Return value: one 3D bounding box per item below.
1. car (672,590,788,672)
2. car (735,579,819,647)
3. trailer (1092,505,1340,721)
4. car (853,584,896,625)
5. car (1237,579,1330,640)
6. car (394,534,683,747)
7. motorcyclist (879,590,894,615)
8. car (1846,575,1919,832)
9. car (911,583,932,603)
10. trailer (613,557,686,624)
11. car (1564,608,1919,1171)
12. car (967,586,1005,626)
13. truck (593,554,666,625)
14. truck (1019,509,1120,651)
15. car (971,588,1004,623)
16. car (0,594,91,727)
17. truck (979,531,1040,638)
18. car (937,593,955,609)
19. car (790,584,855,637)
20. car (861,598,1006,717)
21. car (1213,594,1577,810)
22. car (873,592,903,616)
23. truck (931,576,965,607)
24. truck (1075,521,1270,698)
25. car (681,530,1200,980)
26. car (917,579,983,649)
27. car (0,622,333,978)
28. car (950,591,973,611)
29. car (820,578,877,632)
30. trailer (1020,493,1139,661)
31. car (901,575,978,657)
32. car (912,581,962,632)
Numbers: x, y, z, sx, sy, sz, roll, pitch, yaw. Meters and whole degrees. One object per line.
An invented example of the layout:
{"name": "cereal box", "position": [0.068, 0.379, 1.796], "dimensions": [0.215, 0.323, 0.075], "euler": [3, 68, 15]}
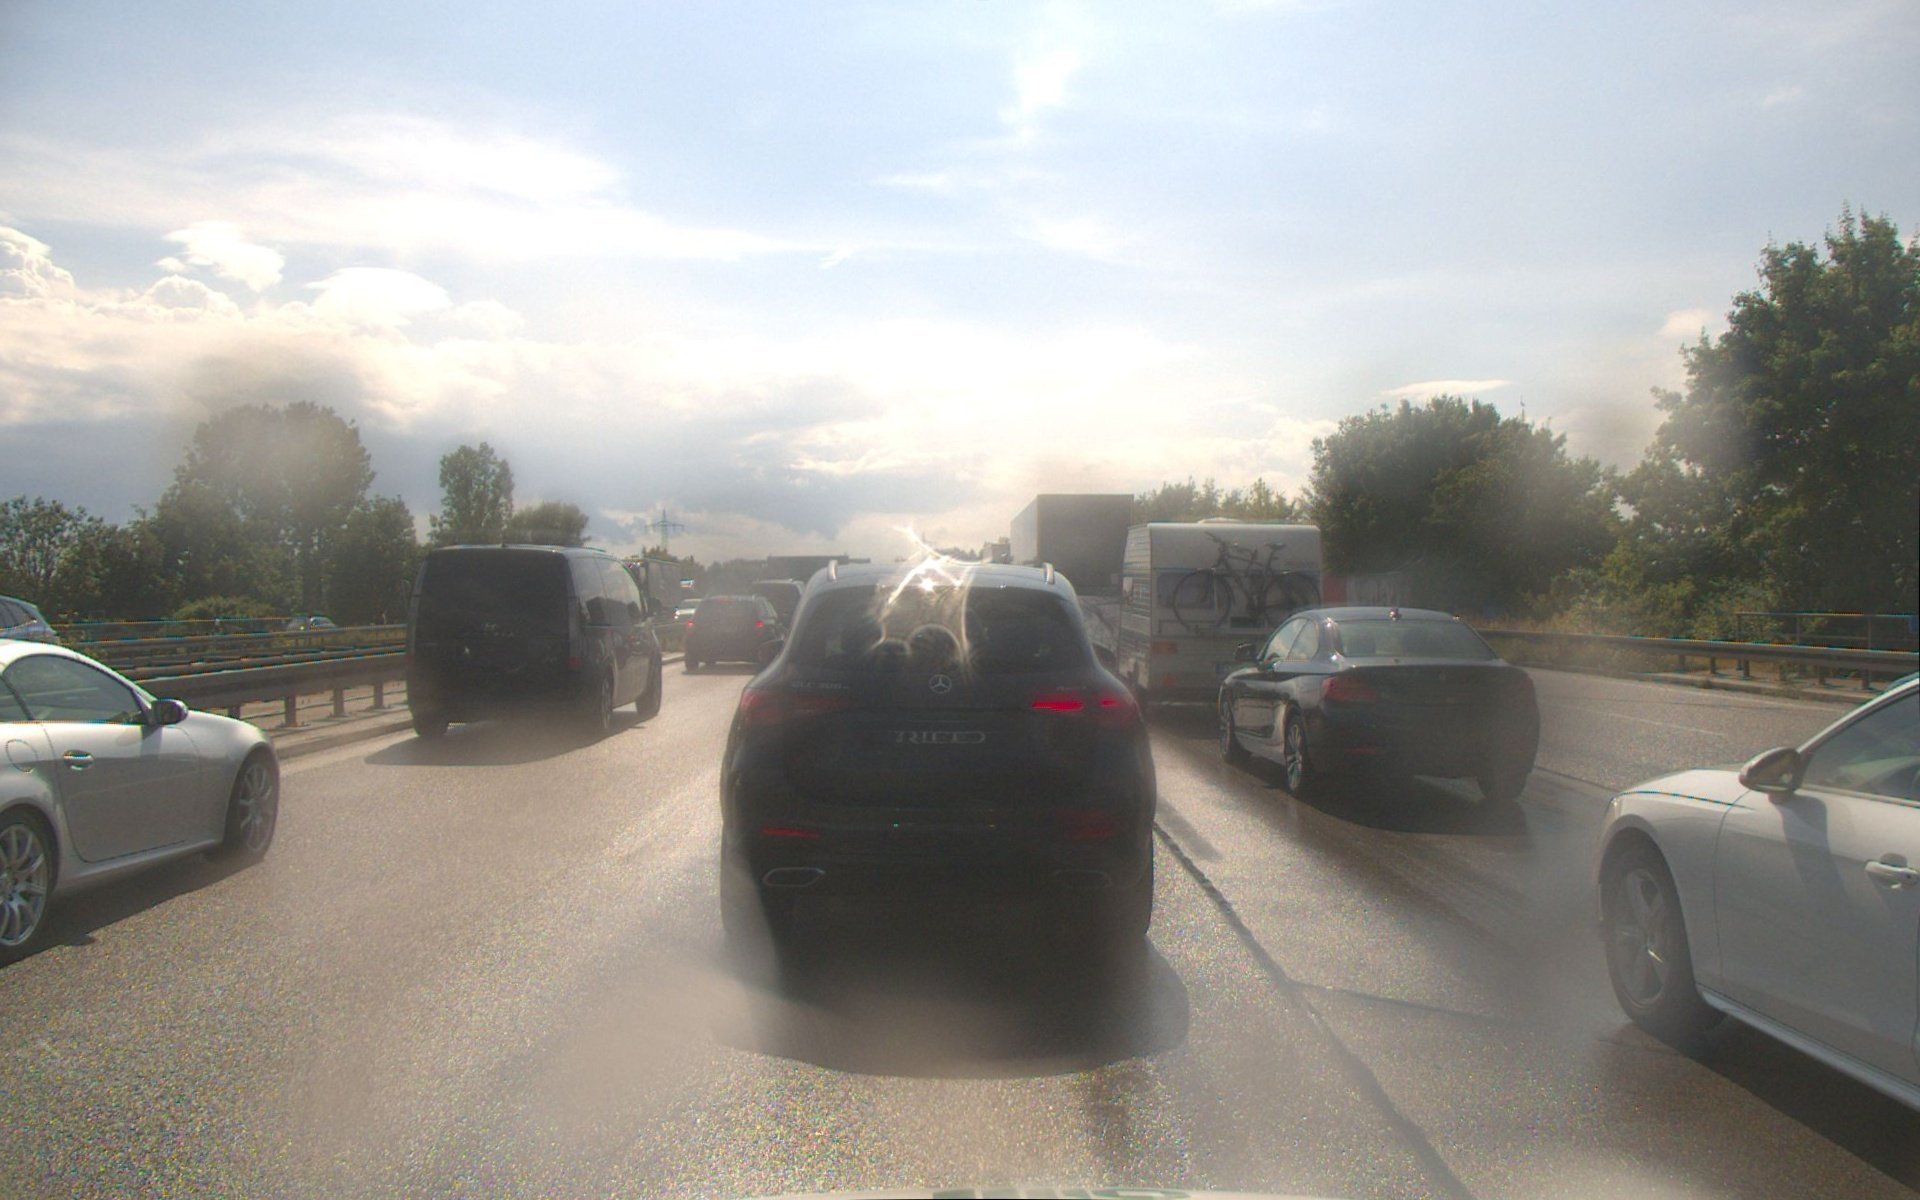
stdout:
{"name": "car", "position": [-4.540, 0.581, 33.184], "dimensions": [1.721, 1.543, 4.209], "euler": [0, 0, 0]}
{"name": "car", "position": [-4.924, 0.339, 44.965], "dimensions": [1.953, 1.750, 3.998], "euler": [1, 0, -2]}
{"name": "trailer", "position": [3.298, 0.162, 22.854], "dimensions": [2.326, 2.526, 6.522], "euler": [1, 0, -1]}
{"name": "car", "position": [-4.360, 0.221, 84.982], "dimensions": [1.953, 2.049, 4.000], "euler": [1, 0, 0]}
{"name": "car", "position": [9.245, 0.260, 47.613], "dimensions": [1.783, 1.649, 4.363], "euler": [1, 0, -1]}
{"name": "car", "position": [-4.500, 0.376, 18.575], "dimensions": [1.953, 2.049, 5.268], "euler": [0, 0, -1]}
{"name": "motorcyclist", "position": [-5.044, 0.163, 113.544], "dimensions": [1.042, 1.748, 0.785], "euler": [0, 0, 0]}
{"name": "car", "position": [7.015, 0.656, 8.921], "dimensions": [1.953, 1.609, 4.652], "euler": [0, 0, -1]}
{"name": "car", "position": [-3.552, -0.628, 152.723], "dimensions": [1.839, 1.791, 3.997], "euler": [1, 0, -3]}
{"name": "trailer", "position": [-20.497, -0.594, 109.803], "dimensions": [2.944, 4.175, 10.474], "euler": [-2, 0, -1]}
{"name": "car", "position": [3.391, 0.784, 4.286], "dimensions": [1.790, 1.450, 4.508], "euler": [3, -1, -3]}
{"name": "car", "position": [1.411, 0.318, 90.020], "dimensions": [1.953, 2.049, 4.000], "euler": [2, 0, 0]}
{"name": "truck", "position": [-20.416, -0.617, 102.594], "dimensions": [2.944, 4.175, 7.685], "euler": [-2, 0, -1]}
{"name": "truck", "position": [3.382, -0.599, 52.163], "dimensions": [2.933, 4.239, 5.241], "euler": [1, 0, 2]}
{"name": "car", "position": [1.717, 0.344, 105.866], "dimensions": [1.953, 2.048, 4.000], "euler": [4, 0, 0]}
{"name": "car", "position": [-11.839, 0.673, 18.614], "dimensions": [1.953, 1.485, 4.097], "euler": [2, 0, -1]}
{"name": "truck", "position": [2.333, -0.696, 80.111], "dimensions": [2.451, 4.914, 7.540], "euler": [1, 0, -2]}
{"name": "car", "position": [-1.666, 0.131, 194.112], "dimensions": [1.839, 1.791, 3.997], "euler": [1, 0, -3]}
{"name": "car", "position": [-4.857, 0.369, 59.019], "dimensions": [1.953, 1.803, 4.000], "euler": [-1, 0, 0]}
{"name": "car", "position": [-0.301, 0.685, 21.711], "dimensions": [1.721, 1.411, 3.945], "euler": [0, 0, 0]}
{"name": "car", "position": [3.378, 0.716, 13.734], "dimensions": [1.811, 1.489, 4.254], "euler": [-1, 0, -1]}
{"name": "car", "position": [-5.310, 0.269, 122.655], "dimensions": [1.953, 1.644, 4.000], "euler": [4, 0, 0]}
{"name": "truck", "position": [-1.697, -1.129, 222.363], "dimensions": [3.767, 4.087, 11.211], "euler": [1, 0, -4]}
{"name": "truck", "position": [3.261, 0.144, 26.714], "dimensions": [2.326, 2.520, 5.755], "euler": [1, 0, -1]}
{"name": "car", "position": [-0.093, 0.586, 8.443], "dimensions": [1.953, 1.690, 4.405], "euler": [0, 0, -1]}
{"name": "car", "position": [-0.306, 0.420, 53.500], "dimensions": [1.953, 2.048, 4.000], "euler": [4, 0, 0]}
{"name": "car", "position": [-4.538, 0.791, 7.748], "dimensions": [1.689, 1.300, 4.063], "euler": [0, 0, -1]}
{"name": "car", "position": [0.105, 0.061, 152.688], "dimensions": [1.839, 1.791, 3.997], "euler": [1, 0, -3]}
{"name": "car", "position": [-4.609, 0.208, 68.854], "dimensions": [1.953, 2.048, 4.000], "euler": [4, 0, 0]}
{"name": "trailer", "position": [3.201, -0.588, 46.474], "dimensions": [2.945, 4.239, 8.537], "euler": [1, 0, 2]}
{"name": "car", "position": [-0.513, 0.407, 44.172], "dimensions": [1.953, 2.049, 4.000], "euler": [1, 0, 0]}
{"name": "car", "position": [-0.928, 0.254, 69.431], "dimensions": [1.953, 2.049, 4.000], "euler": [-2, 0, 0]}
